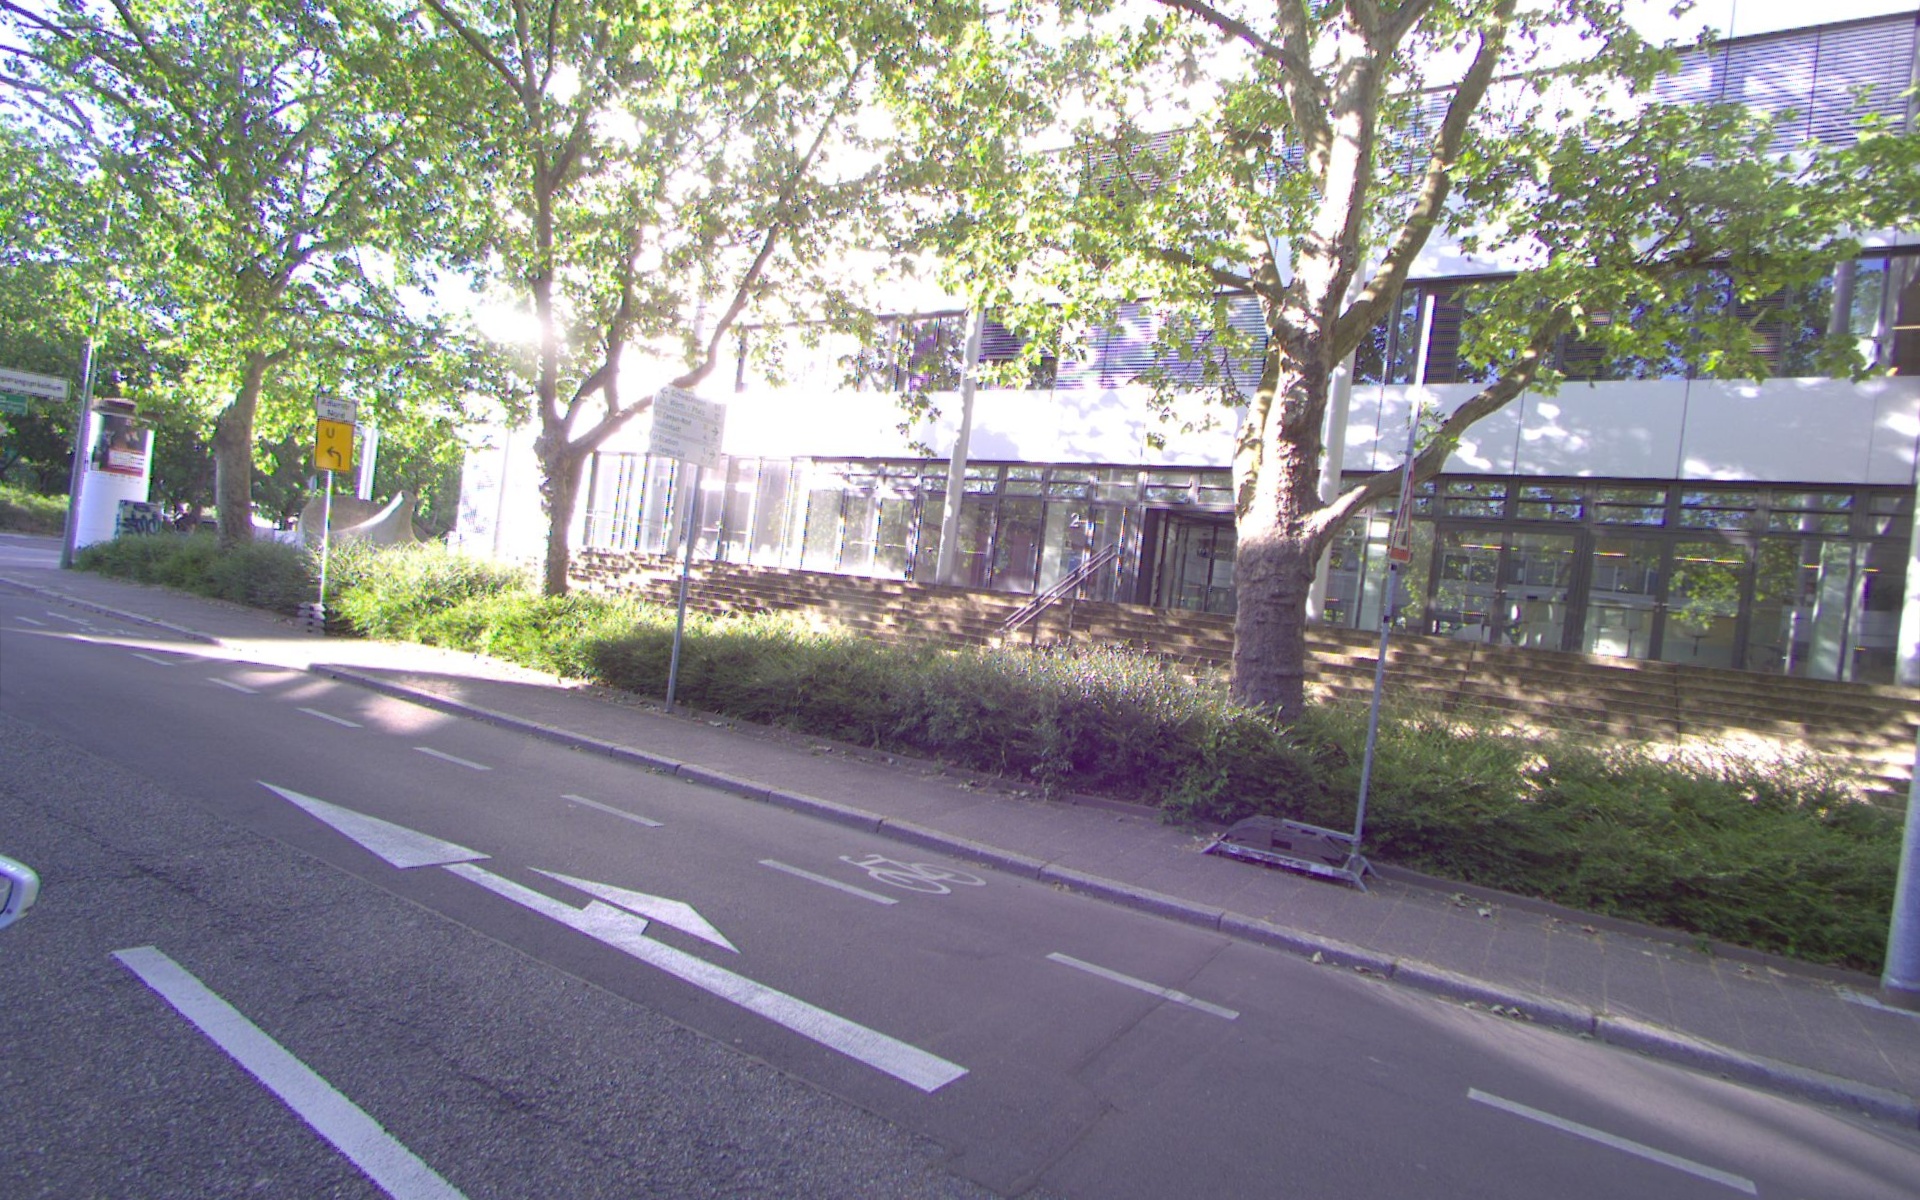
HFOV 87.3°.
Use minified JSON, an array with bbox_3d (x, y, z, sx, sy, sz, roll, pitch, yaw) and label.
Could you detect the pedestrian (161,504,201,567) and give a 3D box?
[{"bbox_3d":[-24.039,-1.986,31.050,0.733,1.799,0.721,8,-1,-43],"label":"pedestrian"}]
